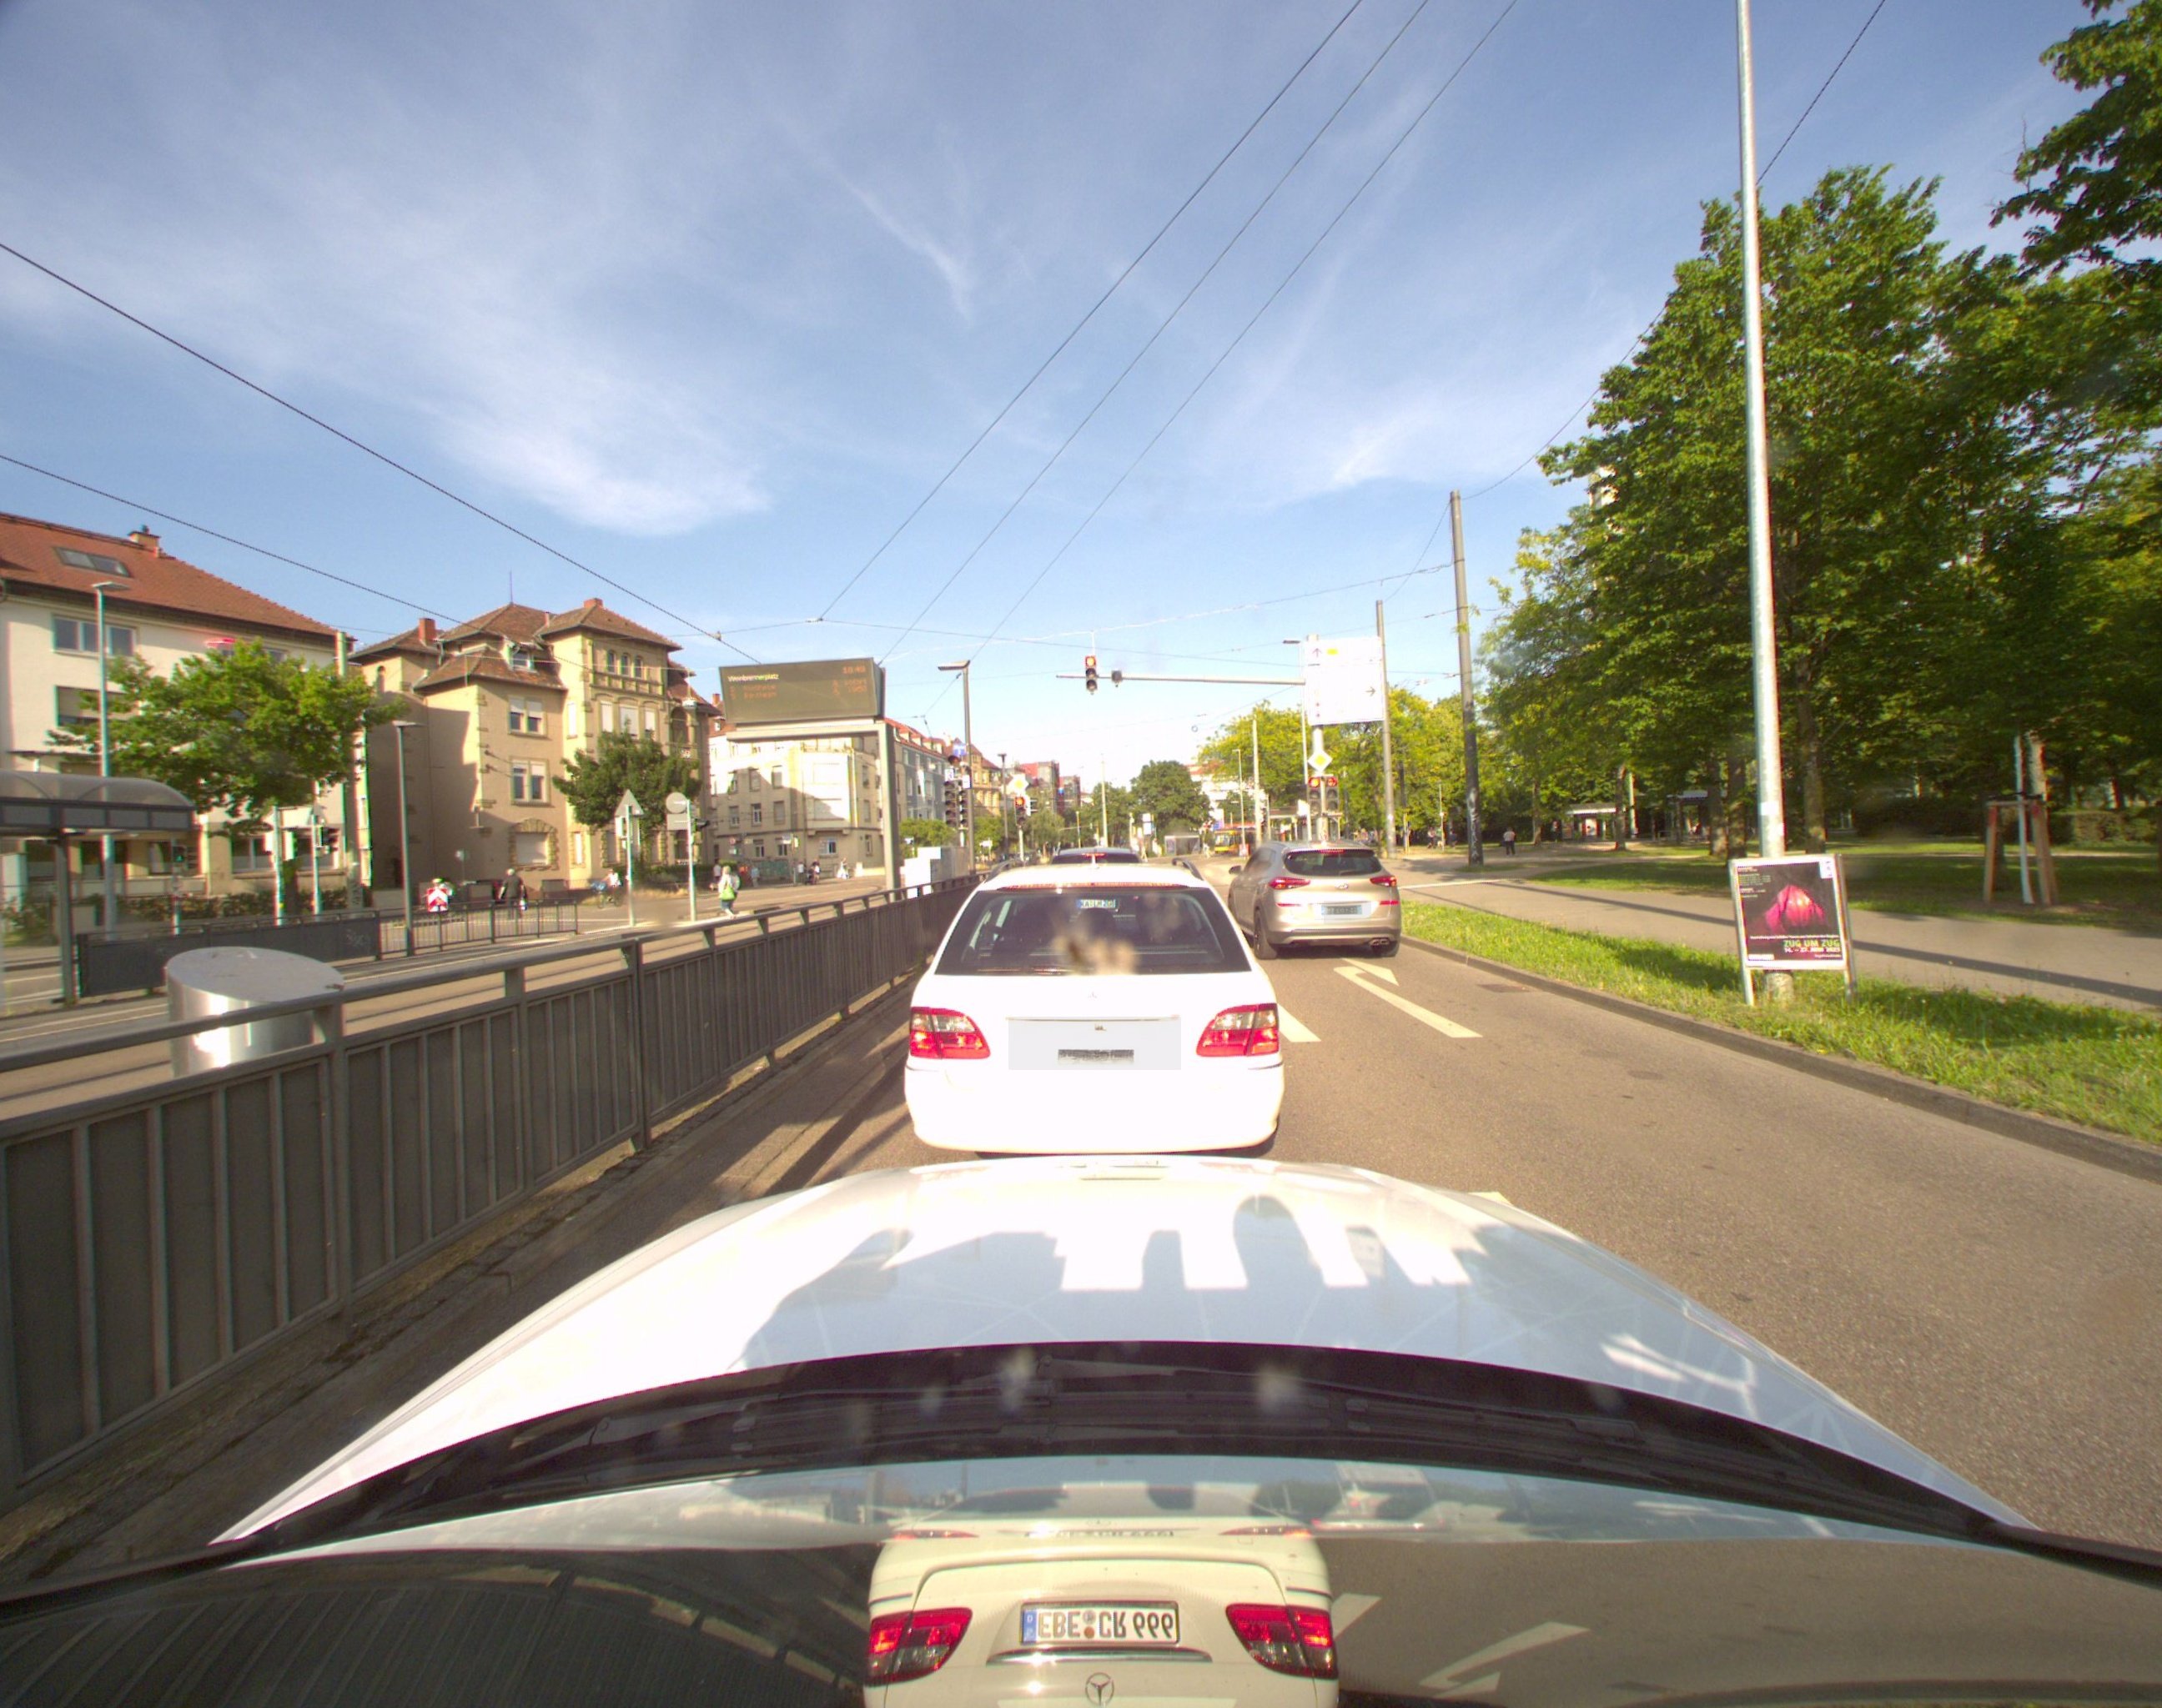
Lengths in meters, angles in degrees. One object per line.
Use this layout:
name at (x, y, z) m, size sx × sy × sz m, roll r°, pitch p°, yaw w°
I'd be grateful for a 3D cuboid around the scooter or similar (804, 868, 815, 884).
scooter or similar at (-18.728, 1.545, 56.138) m, size 0.541 × 1.079 × 0.683 m, roll -1°, pitch -1°, yaw 1°

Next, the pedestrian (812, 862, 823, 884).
pedestrian at (-18.025, 1.303, 55.696) m, size 0.434 × 1.500 × 0.551 m, roll -3°, pitch 0°, yaw 16°

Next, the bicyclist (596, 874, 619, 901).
bicyclist at (-19.258, 1.353, 33.131) m, size 0.511 × 1.044 × 0.679 m, roll -3°, pitch 0°, yaw 0°

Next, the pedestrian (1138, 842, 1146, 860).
pedestrian at (6.466, -0.355, 86.597) m, size 0.638 × 1.857 × 0.554 m, roll -3°, pitch 0°, yaw 13°

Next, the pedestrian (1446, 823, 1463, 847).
pedestrian at (29.113, -1.477, 63.509) m, size 0.797 × 1.785 × 0.838 m, roll -3°, pitch 0°, yaw -2°

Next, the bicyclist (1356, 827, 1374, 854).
bicyclist at (13.765, -0.669, 39.547) m, size 0.532 × 1.262 × 0.869 m, roll -3°, pitch 0°, yaw 2°

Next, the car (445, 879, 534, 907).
car at (-29.458, 1.910, 40.568) m, size 4.066 × 1.310 × 1.774 m, roll -1°, pitch -1°, yaw 24°

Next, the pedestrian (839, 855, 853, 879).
pedestrian at (-20.483, 1.105, 70.881) m, size 0.768 × 2.013 × 0.790 m, roll -3°, pitch 0°, yaw 17°

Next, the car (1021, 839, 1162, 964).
car at (0.203, 0.624, 12.686) m, size 1.878 × 1.651 × 3.649 m, roll 0°, pitch 0°, yaw 2°

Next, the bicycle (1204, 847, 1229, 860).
bicycle at (14.131, -0.070, 84.797) m, size 2.467 × 1.213 × 0.809 m, roll -3°, pitch 0°, yaw 9°

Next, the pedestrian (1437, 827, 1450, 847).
pedestrian at (27.763, -1.303, 62.384) m, size 0.805 × 1.487 × 0.705 m, roll -3°, pitch 0°, yaw 26°

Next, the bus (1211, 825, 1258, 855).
bus at (19.724, -1.652, 104.059) m, size 3.081 × 3.606 × 12.444 m, roll -1°, pitch -1°, yaw 24°

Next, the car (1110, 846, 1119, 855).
car at (7.224, -0.754, 175.281) m, size 1.986 × 2.014 × 4.001 m, roll -1°, pitch 0°, yaw 2°

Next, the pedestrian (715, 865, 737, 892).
pedestrian at (-21.060, 1.438, 48.269) m, size 0.822 × 1.552 × 0.786 m, roll -3°, pitch 0°, yaw 23°

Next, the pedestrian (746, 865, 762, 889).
pedestrian at (-21.013, 1.476, 52.292) m, size 0.626 × 1.541 × 0.711 m, roll -3°, pitch 0°, yaw 1°

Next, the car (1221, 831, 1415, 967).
car at (3.334, 0.567, 12.216) m, size 1.878 × 1.651 × 3.649 m, roll -3°, pitch 0°, yaw 2°

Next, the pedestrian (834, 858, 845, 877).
pedestrian at (-20.781, 1.157, 70.098) m, size 0.615 × 1.660 × 0.589 m, roll -3°, pitch 0°, yaw 17°

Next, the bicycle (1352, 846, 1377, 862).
bicycle at (13.792, -0.006, 39.660) m, size 0.493 × 0.757 × 2.169 m, roll -4°, pitch 0°, yaw 2°

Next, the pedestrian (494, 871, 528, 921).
pedestrian at (-19.368, 1.412, 27.672) m, size 0.798 × 1.645 × 0.748 m, roll -3°, pitch 0°, yaw -42°

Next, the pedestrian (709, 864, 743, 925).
pedestrian at (-9.680, 1.094, 22.207) m, size 0.611 × 1.599 × 0.632 m, roll -3°, pitch 0°, yaw -5°

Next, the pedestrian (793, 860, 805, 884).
pedestrian at (-19.178, 1.219, 55.408) m, size 0.506 × 1.626 × 0.609 m, roll -3°, pitch 0°, yaw 3°

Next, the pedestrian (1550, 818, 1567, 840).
pedestrian at (36.750, -1.912, 62.725) m, size 0.831 × 1.636 × 0.804 m, roll -3°, pitch 0°, yaw 8°

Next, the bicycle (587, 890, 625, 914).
bicycle at (-19.235, 1.919, 33.017) m, size 0.524 × 0.834 × 1.686 m, roll -3°, pitch 0°, yaw 1°

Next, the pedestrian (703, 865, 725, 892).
pedestrian at (-21.927, 1.467, 48.665) m, size 0.822 × 1.552 × 0.786 m, roll -3°, pitch 0°, yaw 23°

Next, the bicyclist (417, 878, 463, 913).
bicyclist at (-25.283, 1.625, 32.155) m, size 0.758 × 1.262 × 1.178 m, roll -3°, pitch 0°, yaw 10°

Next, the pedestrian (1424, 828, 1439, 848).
pedestrian at (27.250, -1.241, 63.300) m, size 0.820 × 1.487 × 0.692 m, roll -3°, pitch 0°, yaw -40°

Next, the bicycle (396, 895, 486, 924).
bicycle at (-25.240, 2.169, 32.220) m, size 0.779 × 0.914 × 3.006 m, roll -3°, pitch 0°, yaw 10°

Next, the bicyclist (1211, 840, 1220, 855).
bicyclist at (13.983, -0.652, 84.807) m, size 0.855 × 1.482 × 0.792 m, roll -3°, pitch 0°, yaw 11°

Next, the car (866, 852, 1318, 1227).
car at (0.091, 0.744, 5.097) m, size 1.789 × 1.470 × 3.649 m, roll -1°, pitch 0°, yaw 1°

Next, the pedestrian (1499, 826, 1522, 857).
pedestrian at (23.564, -0.681, 44.716) m, size 0.758 × 1.636 × 0.800 m, roll -3°, pitch 0°, yaw -38°

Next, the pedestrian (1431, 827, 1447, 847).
pedestrian at (28.098, -1.323, 63.889) m, size 0.813 × 1.487 × 0.698 m, roll -3°, pitch 0°, yaw -9°

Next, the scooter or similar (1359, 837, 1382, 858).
scooter or similar at (16.098, -0.348, 45.290) m, size 0.421 × 1.117 × 1.322 m, roll -3°, pitch 0°, yaw -18°
